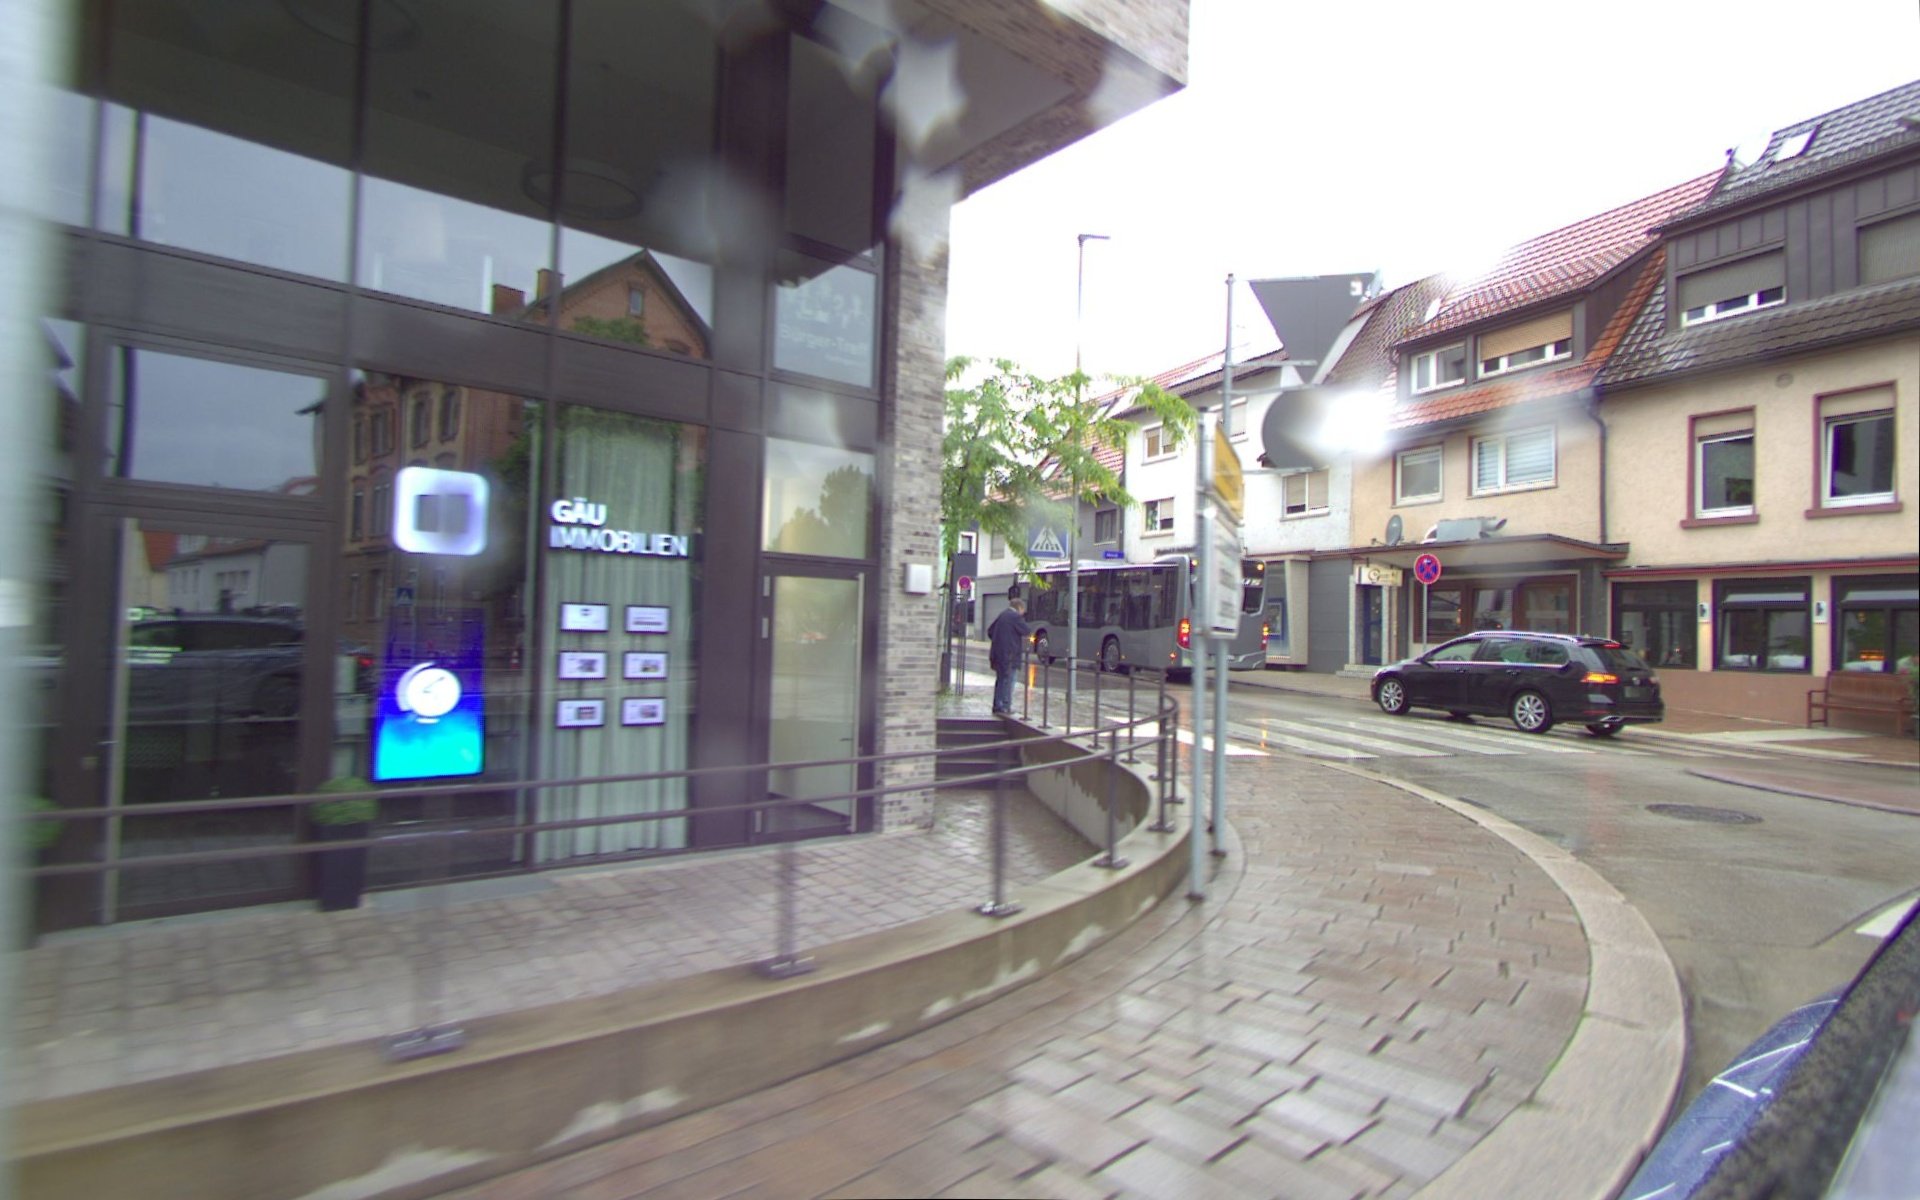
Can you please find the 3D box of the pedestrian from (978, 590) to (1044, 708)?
[{"bbox_3d":[0.730,0.685,14.495,0.572,1.626,0.705,4,-1,-27],"label":"pedestrian"}]

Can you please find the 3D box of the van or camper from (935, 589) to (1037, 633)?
[{"bbox_3d":[1.402,0.544,53.309,4.938,1.957,2.004,-3,2,-24],"label":"van or camper"}]

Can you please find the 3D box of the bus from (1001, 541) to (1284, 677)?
[{"bbox_3d":[4.536,0.201,28.750,2.675,3.119,10.968,2,0,-20],"label":"bus"}]

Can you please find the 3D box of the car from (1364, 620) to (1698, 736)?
[{"bbox_3d":[8.643,1.119,15.829,1.635,1.449,4.477,4,-2,-21],"label":"car"}]
